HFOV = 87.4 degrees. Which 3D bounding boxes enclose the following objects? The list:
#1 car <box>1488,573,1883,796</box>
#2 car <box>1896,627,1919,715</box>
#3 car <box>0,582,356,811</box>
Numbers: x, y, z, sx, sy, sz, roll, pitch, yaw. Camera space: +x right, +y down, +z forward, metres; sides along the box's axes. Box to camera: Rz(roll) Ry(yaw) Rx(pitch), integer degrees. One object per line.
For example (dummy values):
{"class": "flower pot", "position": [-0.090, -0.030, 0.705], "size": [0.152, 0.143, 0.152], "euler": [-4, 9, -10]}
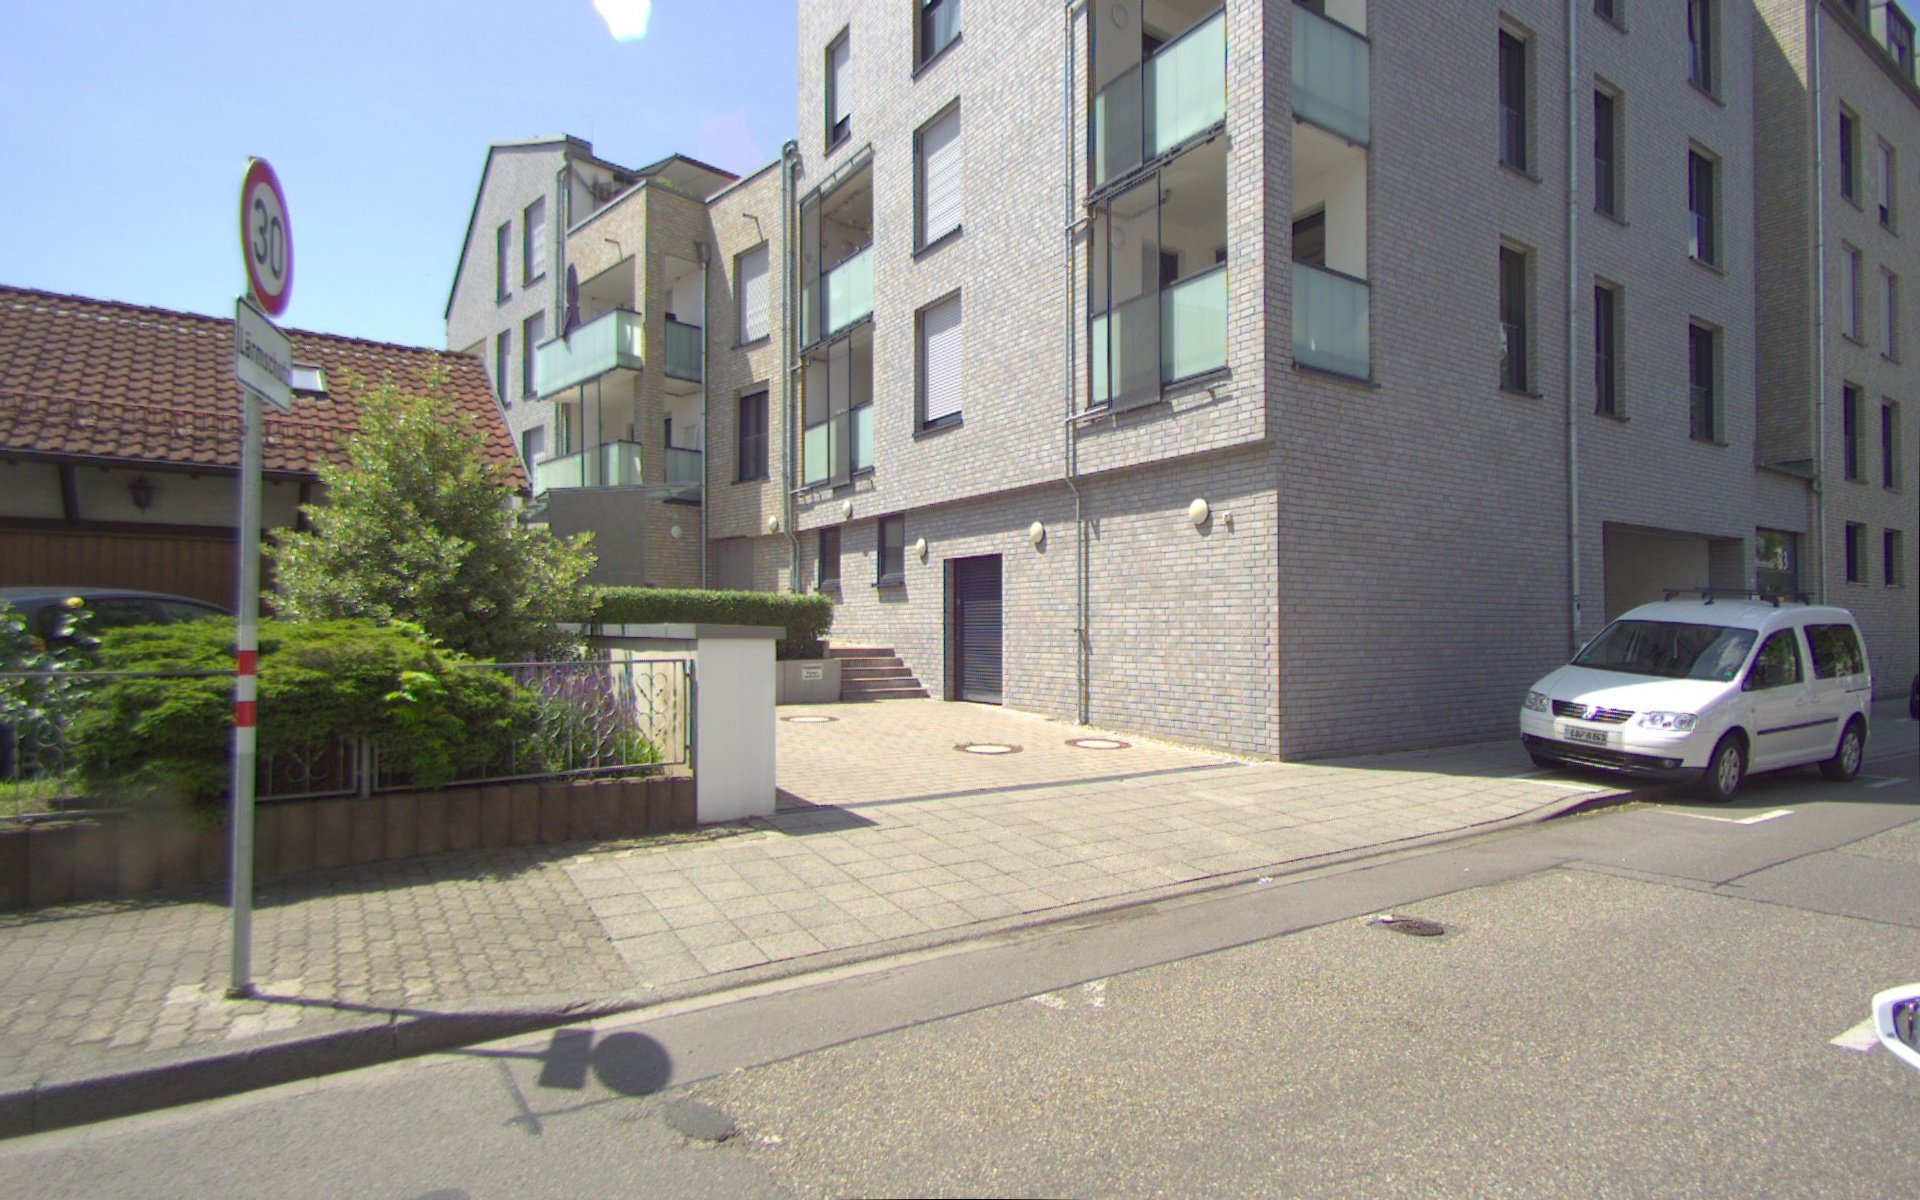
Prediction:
{"class": "car", "position": [7.651, 0.739, 10.503], "size": [4.286, 1.917, 1.748], "euler": [1, 1, -31]}
{"class": "car", "position": [18.103, 1.242, 17.517], "size": [3.962, 1.475, 1.713], "euler": [1, 0, -33]}
{"class": "car", "position": [-7.149, 0.650, 8.428], "size": [1.605, 1.560, 3.566], "euler": [1, 1, 10]}
